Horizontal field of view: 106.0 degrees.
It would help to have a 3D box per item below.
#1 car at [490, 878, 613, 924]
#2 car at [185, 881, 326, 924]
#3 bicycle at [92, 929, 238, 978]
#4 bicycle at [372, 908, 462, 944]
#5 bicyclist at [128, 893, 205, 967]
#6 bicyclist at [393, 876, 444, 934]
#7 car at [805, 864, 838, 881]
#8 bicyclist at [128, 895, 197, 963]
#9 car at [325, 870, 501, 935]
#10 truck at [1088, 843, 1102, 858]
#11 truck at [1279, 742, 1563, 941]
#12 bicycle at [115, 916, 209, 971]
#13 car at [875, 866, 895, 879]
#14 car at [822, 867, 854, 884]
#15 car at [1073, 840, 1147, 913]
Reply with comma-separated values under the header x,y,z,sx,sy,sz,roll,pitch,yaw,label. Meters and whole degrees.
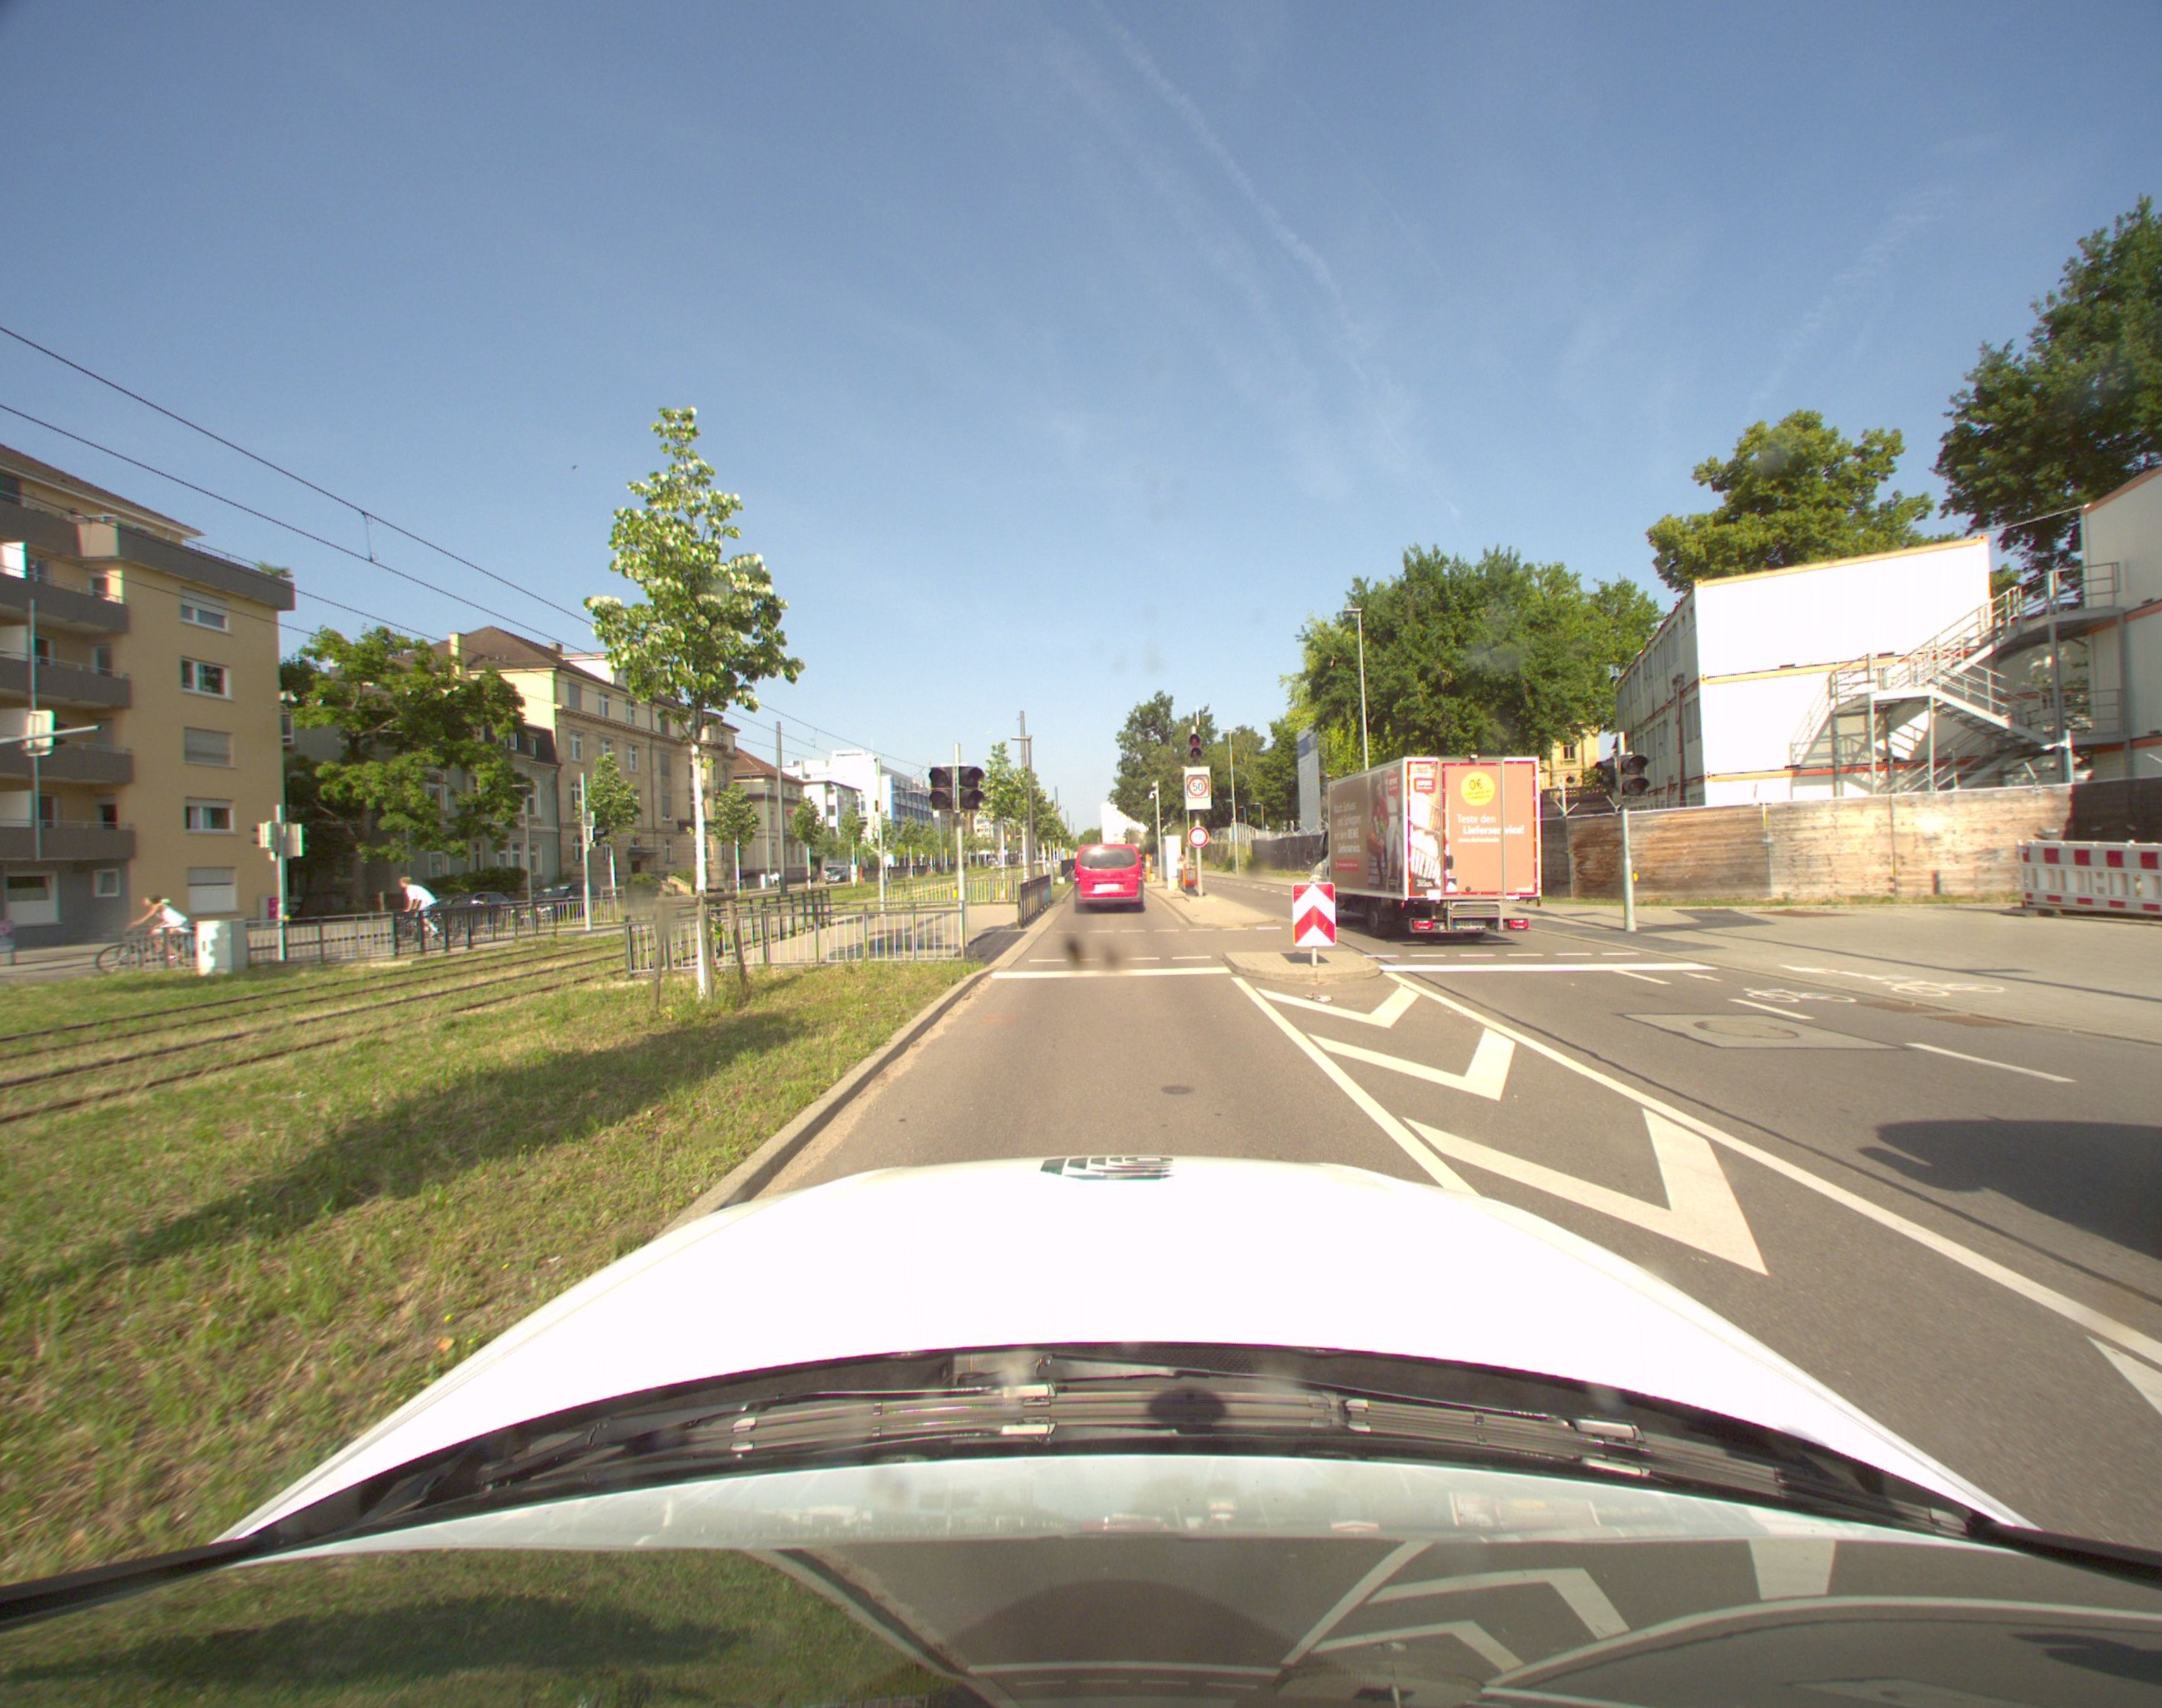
x,y,z,sx,sy,sz,roll,pitch,yaw,label
-20.702,1.786,32.093,1.988,1.513,4.396,-2,0,-1,car
-40.782,2.358,40.318,4.615,1.748,2.164,-3,0,-1,car
-19.923,2.147,17.778,2.013,0.793,0.622,-3,0,-39,bicycle
-16.980,1.831,20.863,0.711,0.798,1.613,-1,-1,29,bicycle
-19.939,1.639,17.782,0.991,1.500,0.613,-2,0,-39,bicyclist
-16.981,1.290,20.876,0.679,1.440,0.811,-1,-1,29,bicyclist
-30.688,2.234,96.580,2.243,2.014,5.260,0,-2,-1,car
-25.989,2.107,23.065,0.667,1.805,1.082,-2,-1,-3,bicyclist
-23.828,1.642,29.404,1.988,2.013,5.300,-2,0,-1,car
3.479,-0.852,209.029,3.380,3.726,10.450,-3,0,0,truck
6.199,-0.147,16.477,2.494,3.061,7.819,0,-1,0,truck
-25.979,2.508,23.060,0.693,1.346,1.755,-2,0,-4,bicycle
-25.357,2.359,105.438,1.514,1.464,3.823,-3,1,-1,car
-25.821,2.235,86.672,1.987,1.577,4.527,-3,0,0,car
0.809,0.582,23.074,1.894,1.859,4.002,-1,0,2,car
